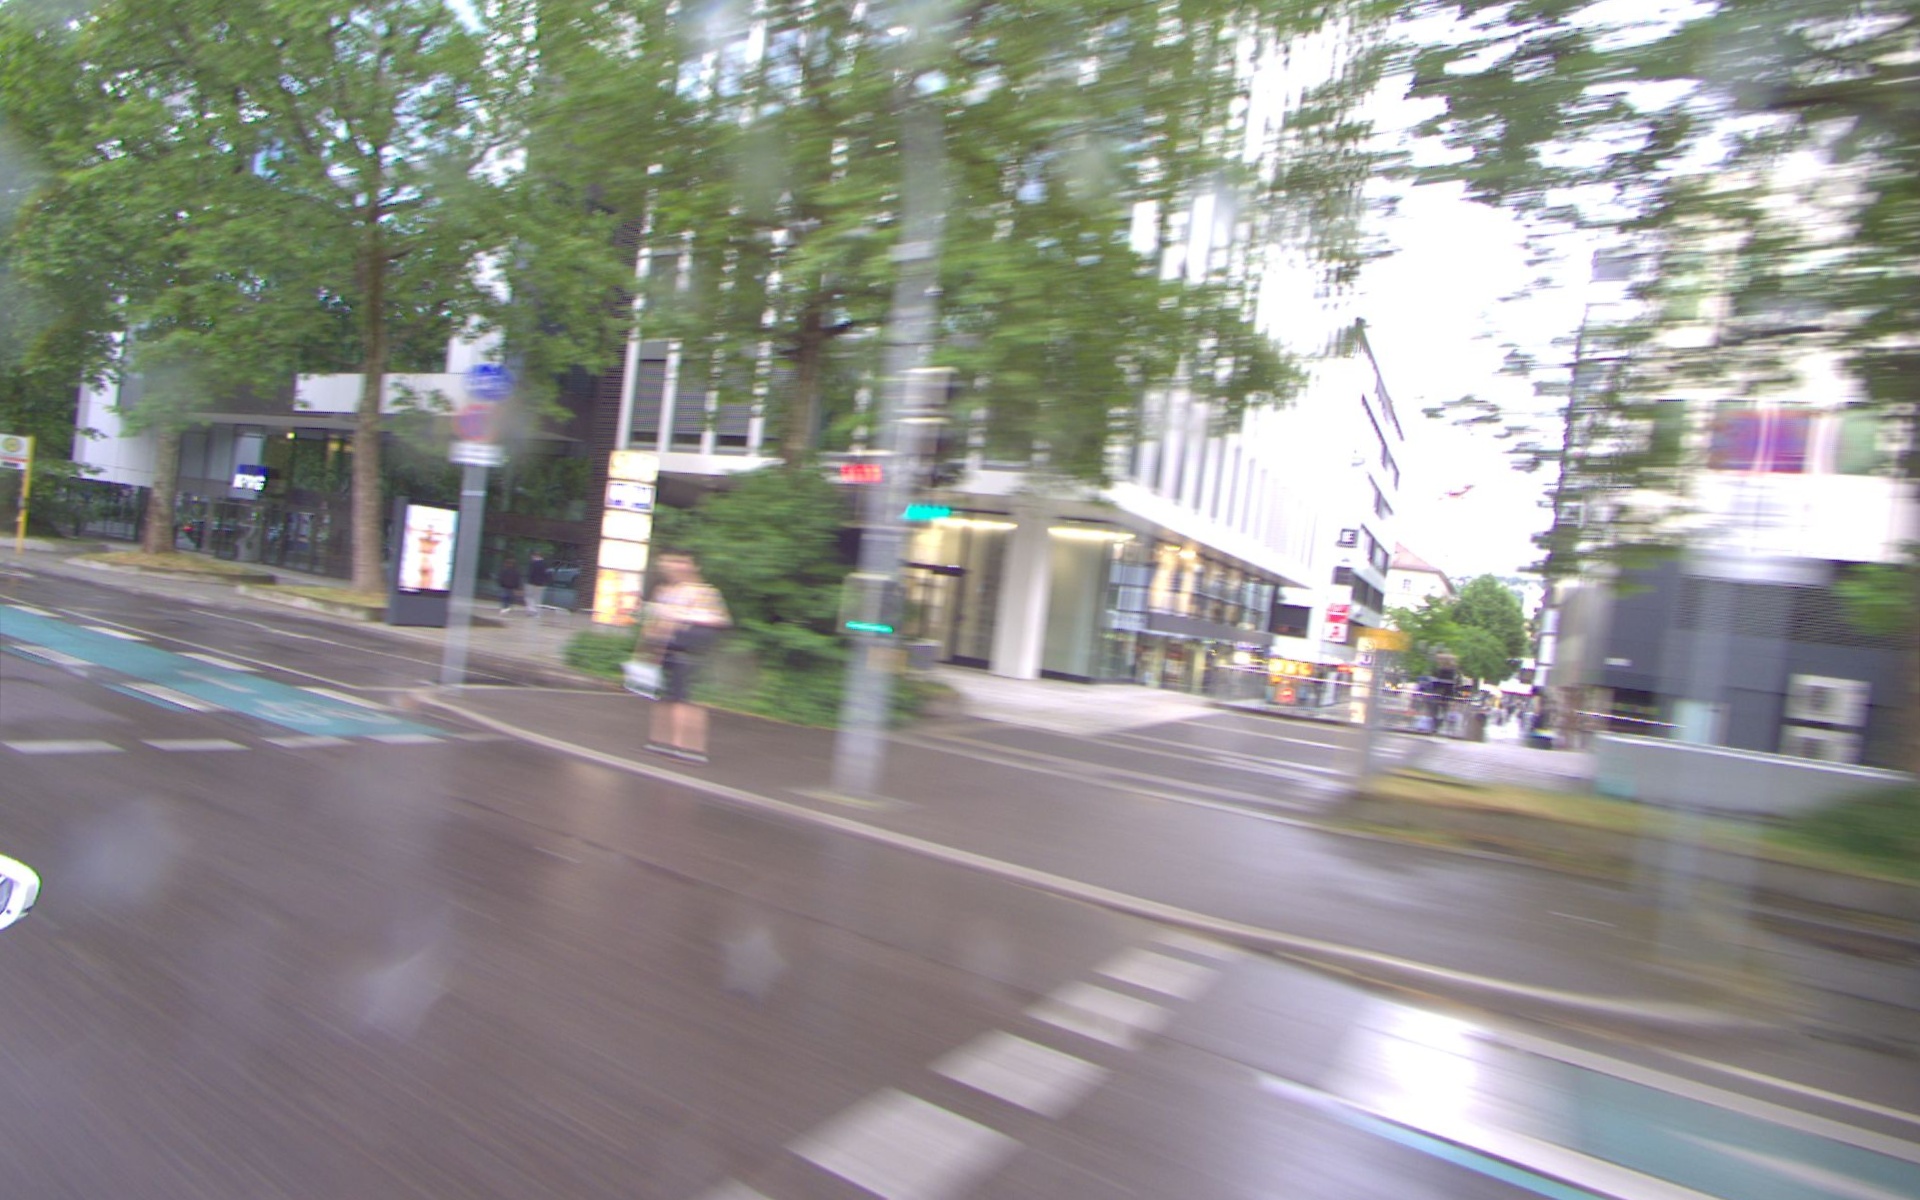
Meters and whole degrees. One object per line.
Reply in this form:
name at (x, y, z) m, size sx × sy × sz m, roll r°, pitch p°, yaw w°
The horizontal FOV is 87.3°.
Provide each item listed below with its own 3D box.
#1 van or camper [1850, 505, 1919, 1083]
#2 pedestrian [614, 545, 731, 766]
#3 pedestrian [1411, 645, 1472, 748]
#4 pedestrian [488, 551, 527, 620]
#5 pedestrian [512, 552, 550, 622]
van or camper at (7.519, 1.268, 4.961) m, size 5.737 × 2.709 × 2.137 m, roll 8°, pitch -1°, yaw -21°
pedestrian at (-2.554, 0.489, 8.959) m, size 0.554 × 1.853 × 0.607 m, roll 7°, pitch 0°, yaw 22°
pedestrian at (10.075, 2.007, 21.050) m, size 0.697 × 2.039 × 0.762 m, roll 5°, pitch 1°, yaw -40°
pedestrian at (-12.494, -0.404, 27.763) m, size 0.597 × 1.816 × 0.563 m, roll 7°, pitch 0°, yaw 29°
pedestrian at (-12.183, -0.369, 28.589) m, size 0.597 × 1.877 × 0.563 m, roll 7°, pitch 0°, yaw 29°
